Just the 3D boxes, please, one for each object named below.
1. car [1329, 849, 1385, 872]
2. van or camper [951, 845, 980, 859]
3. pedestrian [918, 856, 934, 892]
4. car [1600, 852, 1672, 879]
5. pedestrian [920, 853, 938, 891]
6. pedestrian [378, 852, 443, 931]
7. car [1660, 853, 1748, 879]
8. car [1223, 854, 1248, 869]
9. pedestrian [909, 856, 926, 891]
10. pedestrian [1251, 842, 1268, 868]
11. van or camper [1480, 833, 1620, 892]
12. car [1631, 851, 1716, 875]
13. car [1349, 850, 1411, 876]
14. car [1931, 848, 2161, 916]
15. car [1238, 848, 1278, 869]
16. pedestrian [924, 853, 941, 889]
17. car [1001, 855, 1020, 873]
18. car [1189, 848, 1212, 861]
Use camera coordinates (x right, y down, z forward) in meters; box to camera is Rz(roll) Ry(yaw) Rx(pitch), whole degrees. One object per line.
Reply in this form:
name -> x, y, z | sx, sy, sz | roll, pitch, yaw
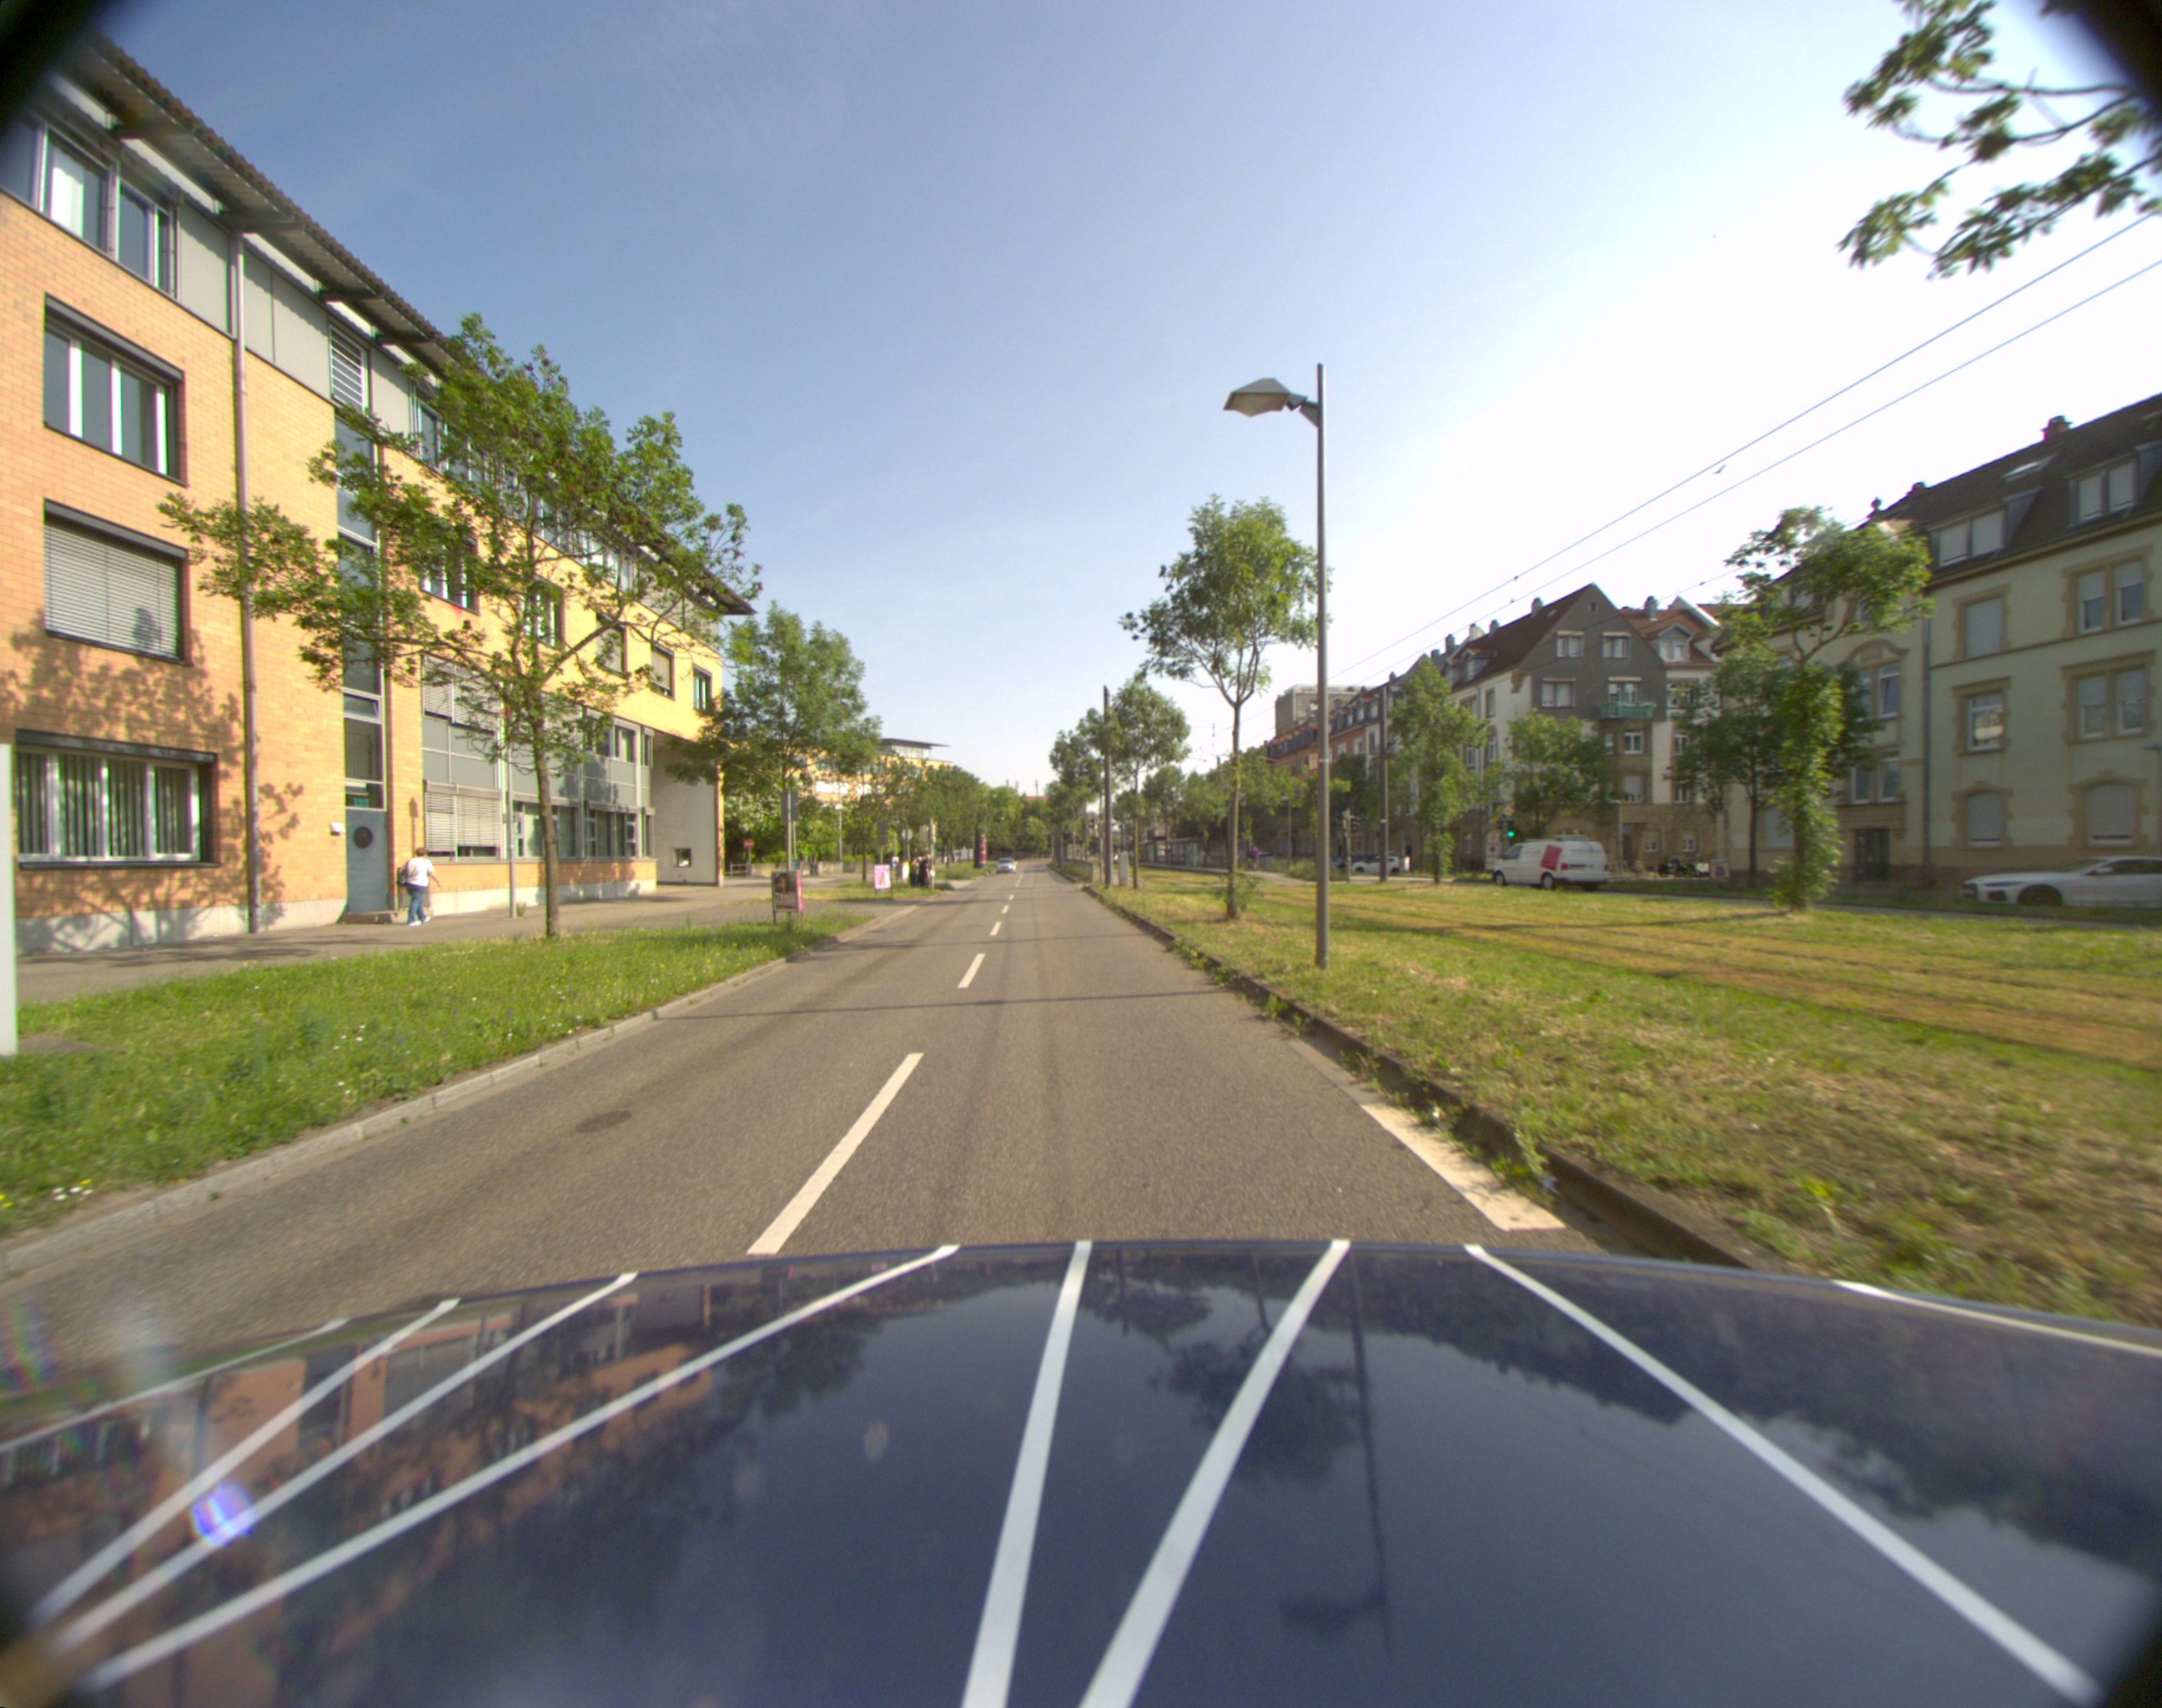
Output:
car -> 22.610, 0.539, 62.251 | 3.989, 1.716, 2.003 | -2, 1, 31
van or camper -> -24.652, -0.374, 162.091 | 5.803, 2.678, 2.406 | -3, 1, -7
pedestrian -> -7.051, 0.905, 34.528 | 0.636, 1.637, 0.608 | 1, 1, -7
car -> 38.115, 0.770, 52.243 | 3.825, 1.574, 1.603 | -3, 1, -3
pedestrian -> -6.667, 0.767, 33.319 | 0.707, 1.637, 0.689 | 1, 1, -6
pedestrian -> -14.392, 0.784, 16.322 | 0.698, 1.647, 0.772 | 0, 1, -3
car -> 36.320, 0.642, 44.443 | 1.673, 1.404, 3.998 | 0, 1, -4
car -> 16.678, 0.761, 82.260 | 1.673, 1.505, 3.998 | 0, 1, -4
pedestrian -> -7.767, 0.916, 36.089 | 0.707, 1.637, 0.689 | 1, 1, -6
pedestrian -> 11.462, 0.040, 48.771 | 0.886, 1.645, 0.852 | 0, 1, -3
van or camper -> 18.666, 0.338, 30.631 | 1.957, 2.084, 5.351 | -3, 0, -4
car -> 34.469, 0.509, 44.321 | 1.673, 1.291, 3.998 | 0, 1, -4
car -> 22.265, 0.661, 56.616 | 3.989, 1.716, 2.003 | -2, 1, 31
car -> 24.990, 0.658, 18.833 | 4.764, 1.477, 2.026 | 1, 3, 28
car -> 14.167, 0.341, 61.162 | 1.840, 1.524, 4.574 | 1, 1, -4
pedestrian -> -6.903, 0.789, 35.355 | 0.707, 1.637, 0.689 | 1, 1, -7
car -> -6.504, 0.877, 69.864 | 1.629, 1.476, 3.364 | -3, 1, -5
car -> 13.837, 0.034, 88.275 | 1.776, 1.432, 4.422 | 1, 1, -4
